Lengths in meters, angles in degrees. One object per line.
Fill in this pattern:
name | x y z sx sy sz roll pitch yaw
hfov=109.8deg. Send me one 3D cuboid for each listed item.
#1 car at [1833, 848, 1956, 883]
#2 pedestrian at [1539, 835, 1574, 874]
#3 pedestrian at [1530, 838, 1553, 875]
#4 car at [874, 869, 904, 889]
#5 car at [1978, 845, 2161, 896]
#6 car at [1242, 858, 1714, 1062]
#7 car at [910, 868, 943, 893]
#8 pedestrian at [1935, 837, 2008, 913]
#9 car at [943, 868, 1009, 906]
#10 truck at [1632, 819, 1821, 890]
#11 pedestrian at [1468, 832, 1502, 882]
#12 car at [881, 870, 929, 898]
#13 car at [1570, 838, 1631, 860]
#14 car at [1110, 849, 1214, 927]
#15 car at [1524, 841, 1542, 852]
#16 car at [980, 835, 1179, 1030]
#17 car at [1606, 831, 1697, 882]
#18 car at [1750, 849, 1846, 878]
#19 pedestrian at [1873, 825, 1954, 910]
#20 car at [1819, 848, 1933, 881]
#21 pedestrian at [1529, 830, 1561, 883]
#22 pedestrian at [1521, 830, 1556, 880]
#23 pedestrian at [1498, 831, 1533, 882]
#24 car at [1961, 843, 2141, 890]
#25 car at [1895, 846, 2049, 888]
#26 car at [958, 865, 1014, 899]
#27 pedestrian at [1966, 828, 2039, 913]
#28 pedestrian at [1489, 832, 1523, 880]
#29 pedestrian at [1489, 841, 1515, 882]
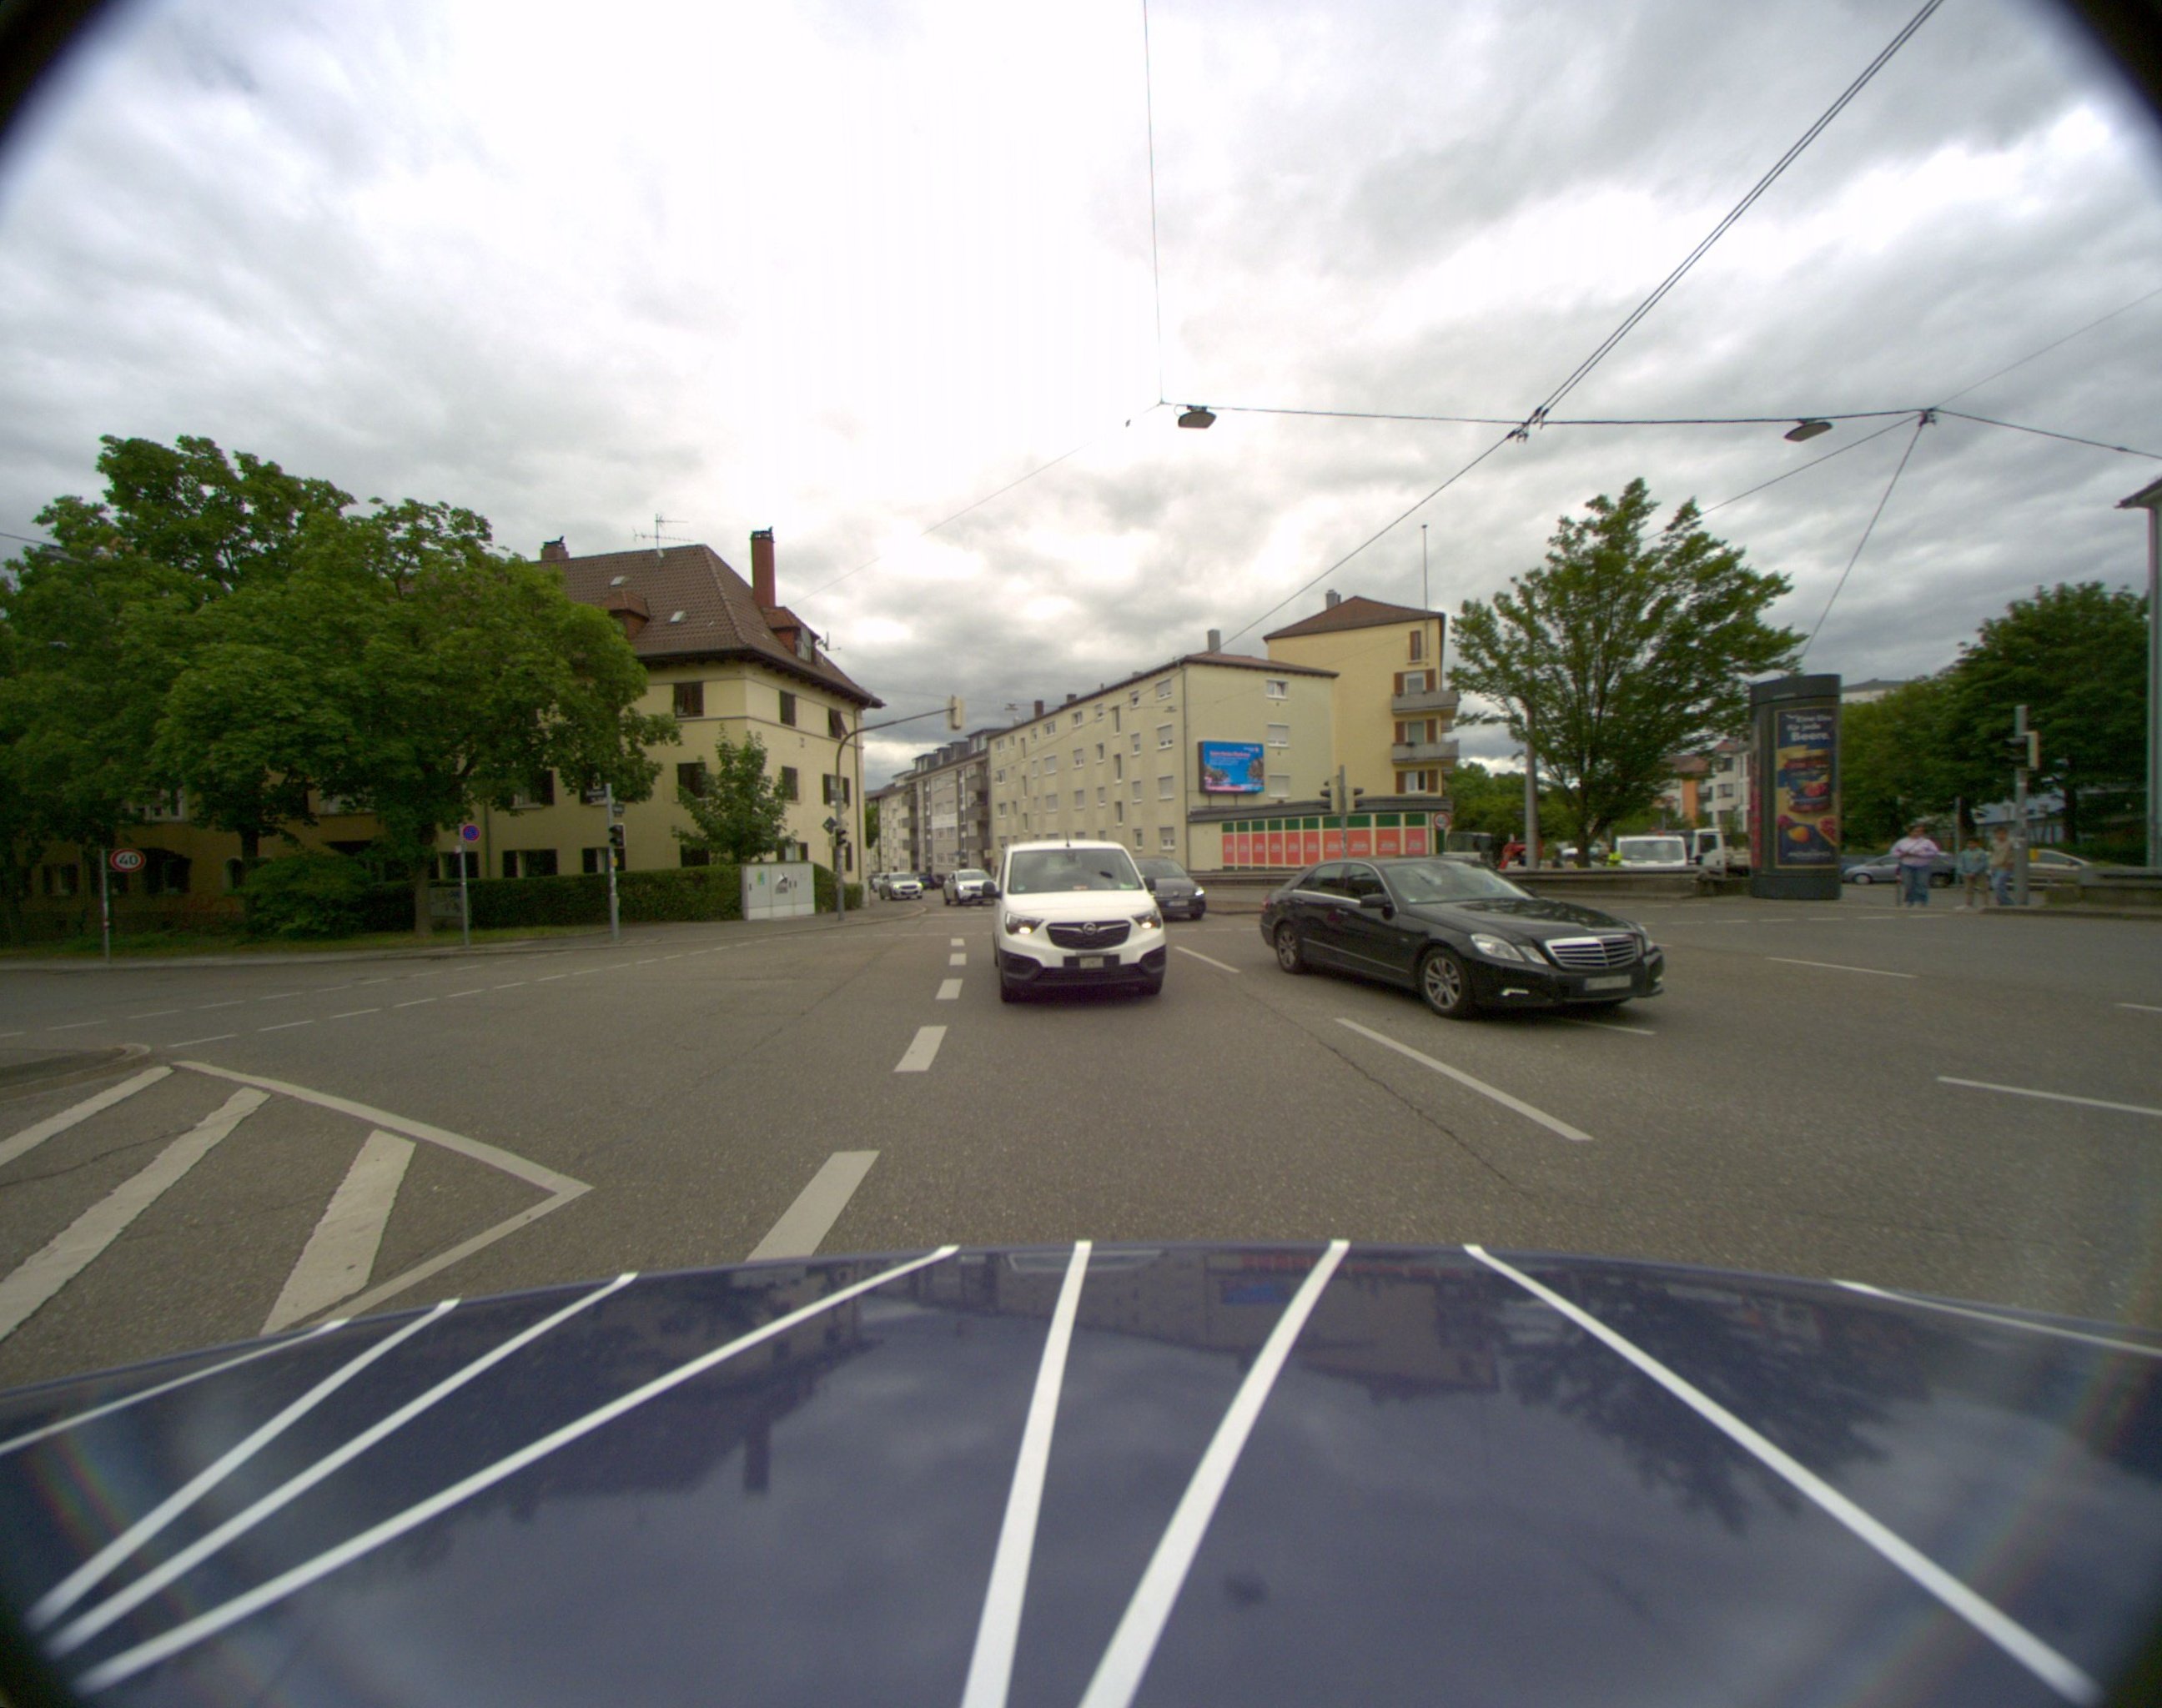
car | 40.280 0.554 37.693 1.896 1.589 3.923 -3 1 -35
pedestrian | 24.677 0.033 39.432 0.929 1.947 1.267 -2 1 -6
pedestrian | 21.112 0.103 34.856 0.866 1.610 1.214 -2 1 31
car | -16.087 2.082 63.538 1.956 1.541 4.029 -1 -1 -22
car | 34.979 0.544 26.825 1.895 1.589 3.925 -3 1 -27
car | 3.628 0.810 8.175 1.842 1.411 4.733 -2 1 -13
car | -13.507 2.272 66.361 2.002 2.002 4.262 -3 1 -22
pedestrian | 16.212 0.368 13.833 0.664 1.333 0.628 -3 1 -15
car | -4.527 1.373 32.329 1.911 1.470 3.881 -1 -1 -22
truck | 26.413 0.052 31.168 6.460 2.707 2.769 0 -1 -16
pedestrian | 13.545 0.103 25.480 0.773 1.610 0.649 -3 1 -24
car | -10.557 1.788 45.340 1.957 1.541 4.028 -1 -2 -25
car | 43.791 -0.442 64.104 3.932 1.695 1.892 -2 1 -5
car | 1.993 0.771 20.057 1.858 1.605 4.725 -3 2 -4
car | 68.168 -1.143 114.555 1.888 1.589 3.940 -2 1 36
car | -0.220 0.779 9.677 1.858 1.798 4.727 -2 -1 -5
car | 19.624 0.044 26.057 2.206 1.562 4.486 -1 1 41
car | 43.421 0.572 46.096 1.896 1.589 3.923 -3 1 -35
pedestrian | 15.976 0.248 14.589 0.706 1.574 0.802 -3 1 -16
car | 41.905 0.561 40.129 1.896 1.589 3.923 -3 1 -35
pedestrian | 14.552 0.082 23.836 0.606 1.610 0.554 -3 1 -17
pedestrian | 15.232 0.040 25.309 0.771 1.610 0.650 -2 1 1
pedestrian | 14.115 0.089 24.690 0.651 1.610 0.770 -3 2 -40
car | 36.800 0.450 28.954 1.895 1.589 3.925 -3 1 -27
car | 37.765 0.536 32.315 1.895 1.589 3.925 -3 1 -27
car | -4.831 1.398 38.165 2.041 1.541 4.030 -1 -1 -19
pedestrian | 16.035 0.278 13.226 0.605 1.424 0.600 -3 1 -15
pedestrian | 14.620 0.054 26.148 0.773 1.610 0.649 -3 1 -20
pedestrian | 17.213 0.295 31.079 0.866 1.610 0.920 -2 1 31
